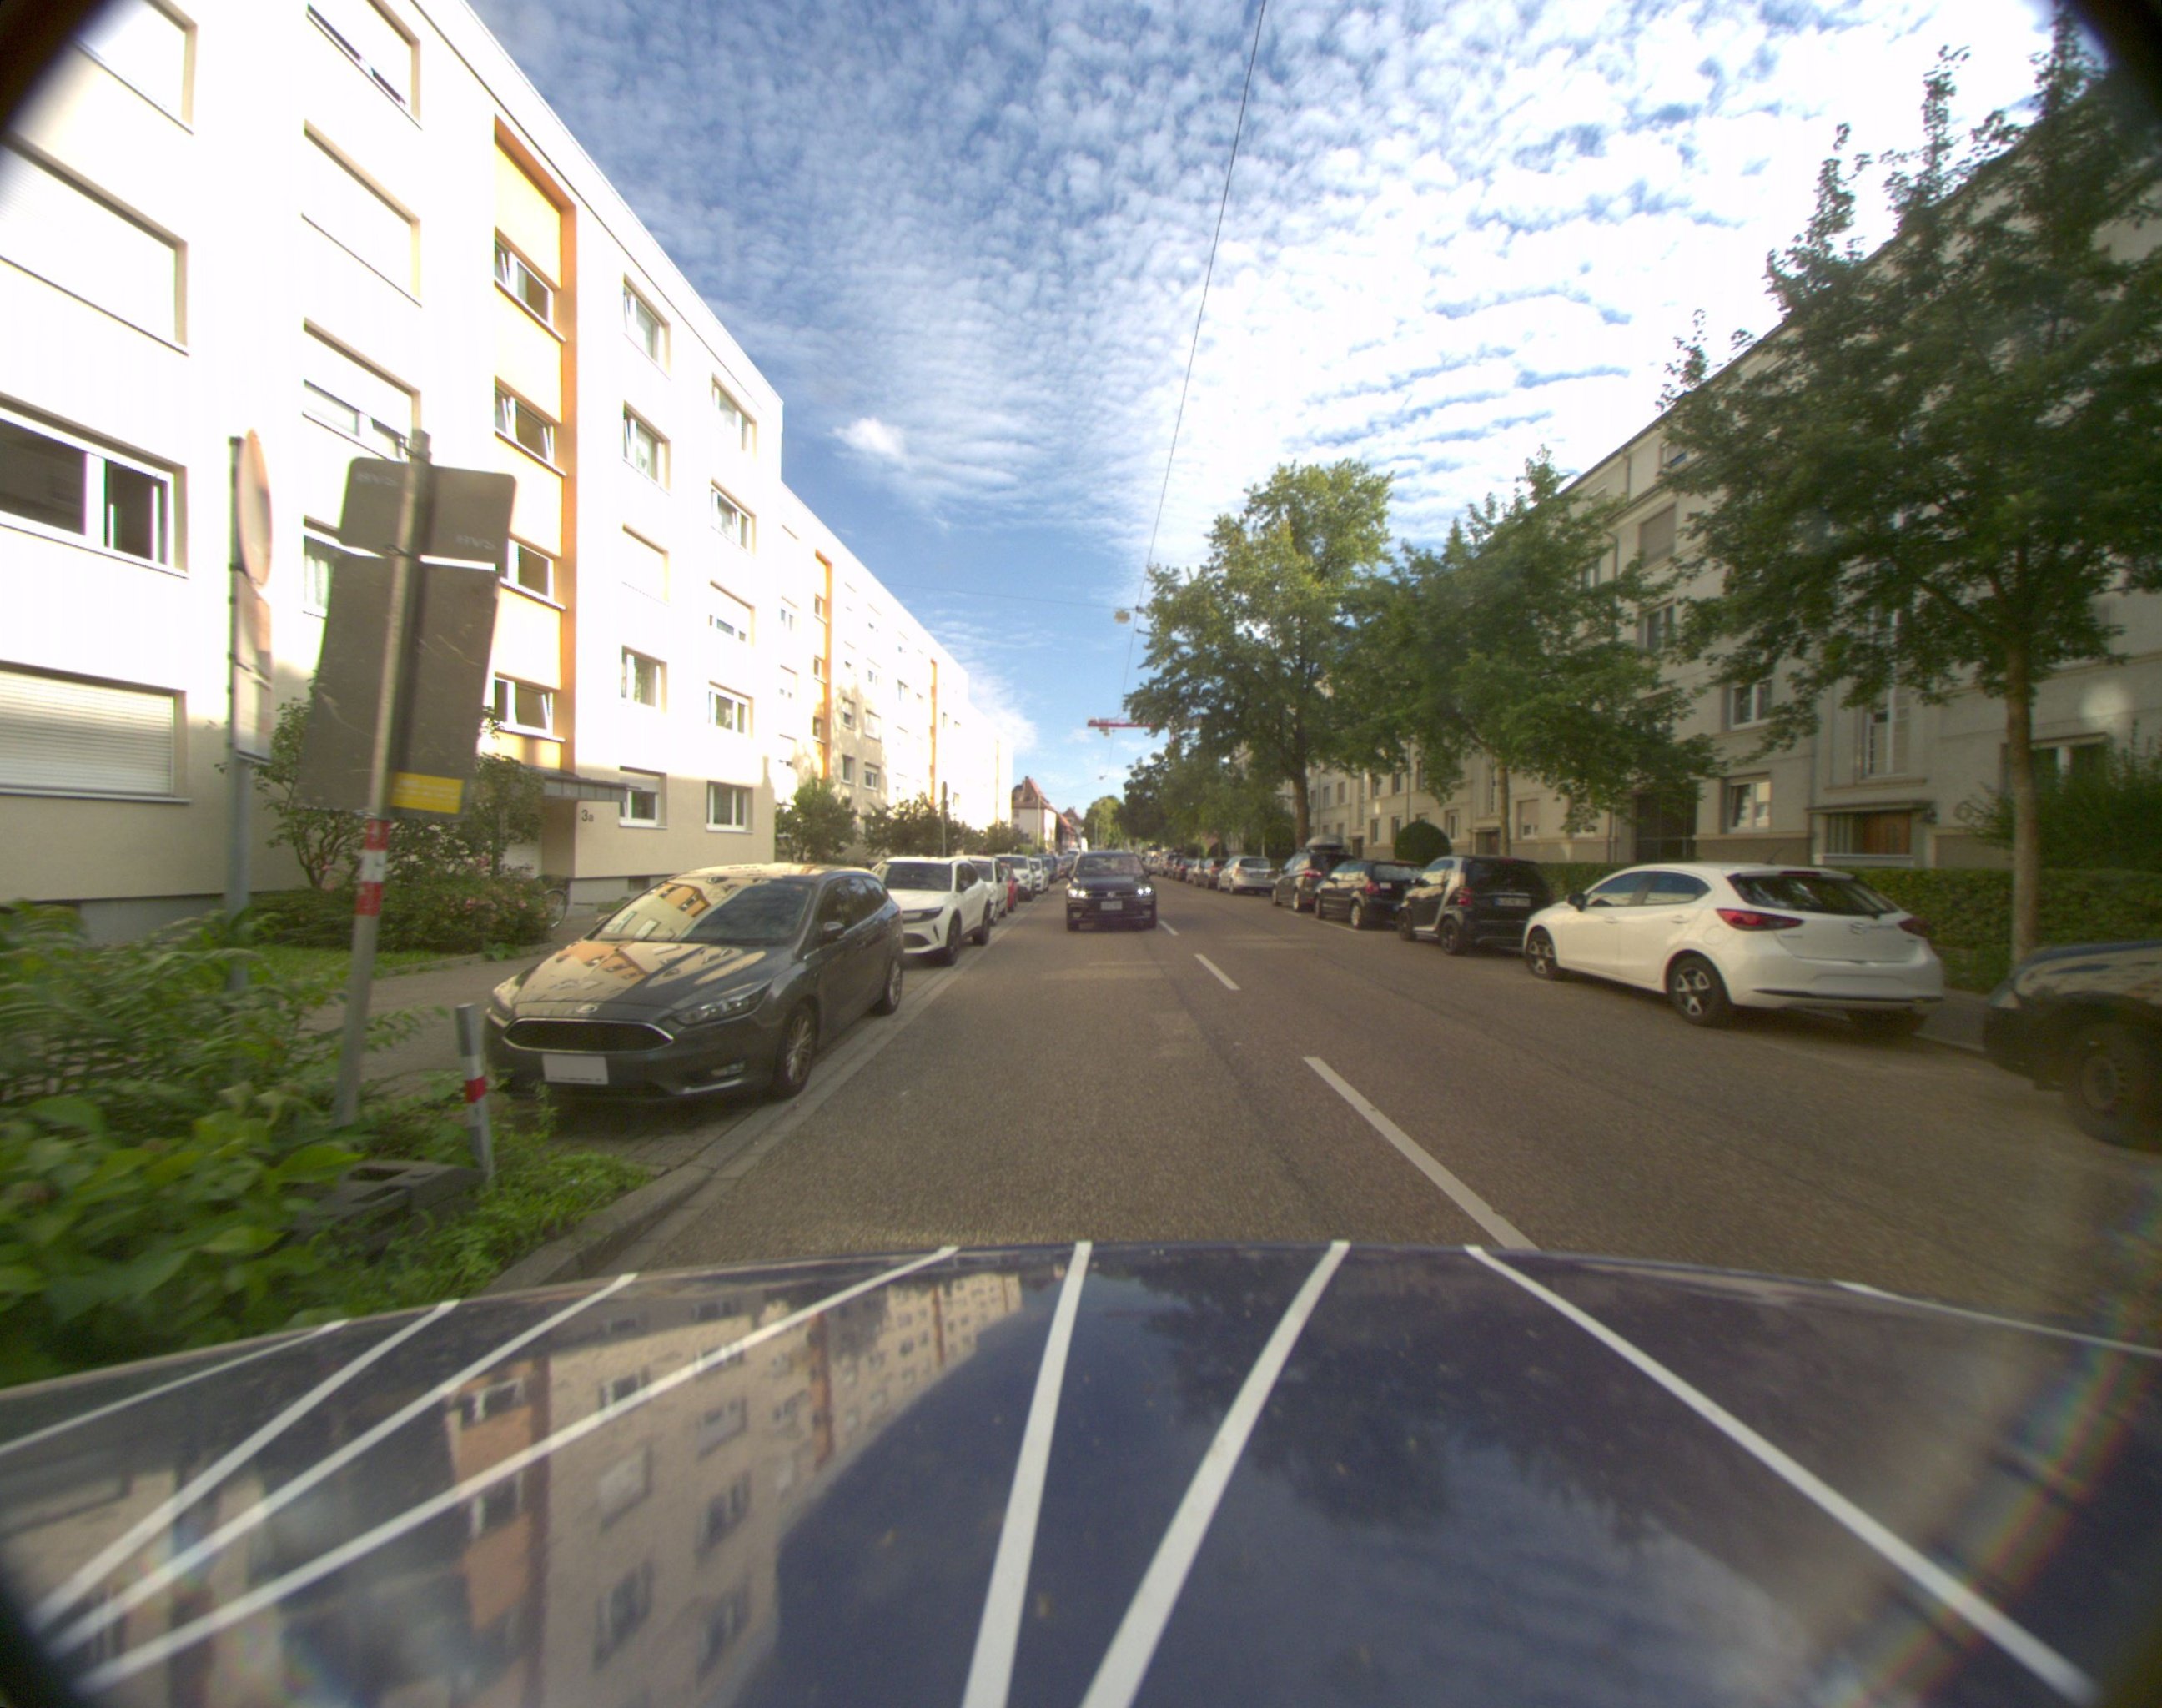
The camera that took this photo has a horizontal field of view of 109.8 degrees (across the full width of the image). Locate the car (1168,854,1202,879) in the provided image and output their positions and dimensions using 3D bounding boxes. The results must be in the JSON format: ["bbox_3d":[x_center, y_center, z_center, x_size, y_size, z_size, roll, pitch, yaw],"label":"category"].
[{"bbox_3d":[6.945,0.830,51.099,1.689,1.472,4.119,4,1,2],"label":"car"}]

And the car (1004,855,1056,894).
[{"bbox_3d":[-2.148,0.832,33.078,1.732,1.479,4.642,2,0,2],"label":"car"}]

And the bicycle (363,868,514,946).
[{"bbox_3d":[-10.347,0.806,12.369,0.530,1.108,2.209,2,0,1],"label":"bicycle"}]

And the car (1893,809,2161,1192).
[{"bbox_3d":[6.160,0.752,2.825,1.727,1.871,4.191,2,0,0],"label":"car"}]

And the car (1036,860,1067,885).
[{"bbox_3d":[-1.850,1.152,48.471,1.733,1.452,4.116,2,0,0],"label":"car"}]

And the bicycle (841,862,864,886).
[{"bbox_3d":[-9.502,0.830,31.612,0.460,0.921,1.517,2,0,0],"label":"bicycle"}]

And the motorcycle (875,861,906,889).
[{"bbox_3d":[-7.763,0.834,31.006,0.632,1.038,2.394,2,0,0],"label":"motorcycle"}]

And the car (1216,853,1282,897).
[{"bbox_3d":[6.743,0.801,30.893,1.743,1.610,3.994,2,0,-1],"label":"car"}]

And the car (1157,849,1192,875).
[{"bbox_3d":[6.929,0.554,56.815,1.882,1.782,4.970,3,0,0],"label":"car"}]

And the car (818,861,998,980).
[{"bbox_3d":[-2.543,0.901,12.236,1.693,1.519,4.238,1,0,3],"label":"car"}]

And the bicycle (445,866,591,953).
[{"bbox_3d":[-8.906,0.828,12.154,0.598,1.180,2.209,4,0,1],"label":"bicycle"}]

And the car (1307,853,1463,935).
[{"bbox_3d":[6.352,0.754,16.369,1.704,1.478,3.847,3,0,-1],"label":"car"}]

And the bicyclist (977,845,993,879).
[{"bbox_3d":[-4.704,0.393,37.296,0.625,1.668,0.893,1,1,0],"label":"bicyclist"}]

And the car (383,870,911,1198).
[{"bbox_3d":[-2.649,0.948,5.928,1.694,1.519,4.237,1,0,0],"label":"car"}]

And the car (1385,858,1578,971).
[{"bbox_3d":[6.328,0.876,12.369,1.556,1.511,3.016,3,0,2],"label":"car"}]

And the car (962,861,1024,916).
[{"bbox_3d":[-2.509,0.943,22.253,1.519,1.390,3.675,2,0,-3],"label":"car"}]

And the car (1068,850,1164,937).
[{"bbox_3d":[0.674,0.755,16.618,1.859,1.673,4.000,0,0,0],"label":"car"}]

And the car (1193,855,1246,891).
[{"bbox_3d":[6.468,0.850,35.849,1.618,1.459,4.013,3,0,-1],"label":"car"}]

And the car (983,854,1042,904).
[{"bbox_3d":[-2.376,0.811,27.140,1.733,1.571,4.116,2,0,-1],"label":"car"}]

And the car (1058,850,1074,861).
[{"bbox_3d":[-2.014,0.180,102.964,1.767,1.515,4.330,1,0,3],"label":"car"}]

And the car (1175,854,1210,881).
[{"bbox_3d":[6.752,0.786,46.341,1.689,1.472,4.452,4,1,4],"label":"car"}]

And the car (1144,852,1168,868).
[{"bbox_3d":[7.208,0.567,73.271,1.742,1.385,4.665,3,0,0],"label":"car"}]

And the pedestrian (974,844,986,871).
[{"bbox_3d":[-6.284,0.207,47.286,0.543,1.711,0.771,0,1,6],"label":"pedestrian"}]

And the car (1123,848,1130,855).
[{"bbox_3d":[13.686,-0.751,226.433,1.834,1.659,4.084,-3,1,1],"label":"car"}]

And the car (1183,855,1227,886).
[{"bbox_3d":[6.555,0.840,40.535,1.604,1.410,3.963,4,0,-1],"label":"car"}]

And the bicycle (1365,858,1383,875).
[{"bbox_3d":[18.916,0.800,49.023,0.543,1.050,1.541,0,0,0],"label":"bicycle"}]

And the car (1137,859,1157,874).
[{"bbox_3d":[7.511,1.388,87.256,1.860,1.477,4.798,4,0,1],"label":"car"}]

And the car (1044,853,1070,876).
[{"bbox_3d":[-1.678,0.718,53.651,1.733,1.506,4.190,2,0,-2],"label":"car"}]

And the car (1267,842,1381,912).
[{"bbox_3d":[6.681,0.583,21.412,1.803,1.658,4.483,3,0,2],"label":"car"}]

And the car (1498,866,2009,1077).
[{"bbox_3d":[6.314,0.925,7.981,1.698,1.484,4.333,2,0,4],"label":"car"}]

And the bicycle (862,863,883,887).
[{"bbox_3d":[-8.671,0.845,31.648,0.460,0.936,1.517,2,0,0],"label":"bicycle"}]

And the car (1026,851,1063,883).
[{"bbox_3d":[-2.040,0.695,43.579,1.733,1.640,4.116,2,1,1],"label":"car"}]

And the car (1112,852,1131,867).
[{"bbox_3d":[4.083,0.556,76.834,1.863,1.520,4.011,1,0,2],"label":"car"}]

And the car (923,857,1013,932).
[{"bbox_3d":[-2.590,0.878,18.075,1.555,1.548,3.468,2,0,0],"label":"car"}]

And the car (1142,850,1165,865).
[{"bbox_3d":[7.584,0.329,80.082,1.860,1.477,4.683,2,0,-1],"label":"car"}]
